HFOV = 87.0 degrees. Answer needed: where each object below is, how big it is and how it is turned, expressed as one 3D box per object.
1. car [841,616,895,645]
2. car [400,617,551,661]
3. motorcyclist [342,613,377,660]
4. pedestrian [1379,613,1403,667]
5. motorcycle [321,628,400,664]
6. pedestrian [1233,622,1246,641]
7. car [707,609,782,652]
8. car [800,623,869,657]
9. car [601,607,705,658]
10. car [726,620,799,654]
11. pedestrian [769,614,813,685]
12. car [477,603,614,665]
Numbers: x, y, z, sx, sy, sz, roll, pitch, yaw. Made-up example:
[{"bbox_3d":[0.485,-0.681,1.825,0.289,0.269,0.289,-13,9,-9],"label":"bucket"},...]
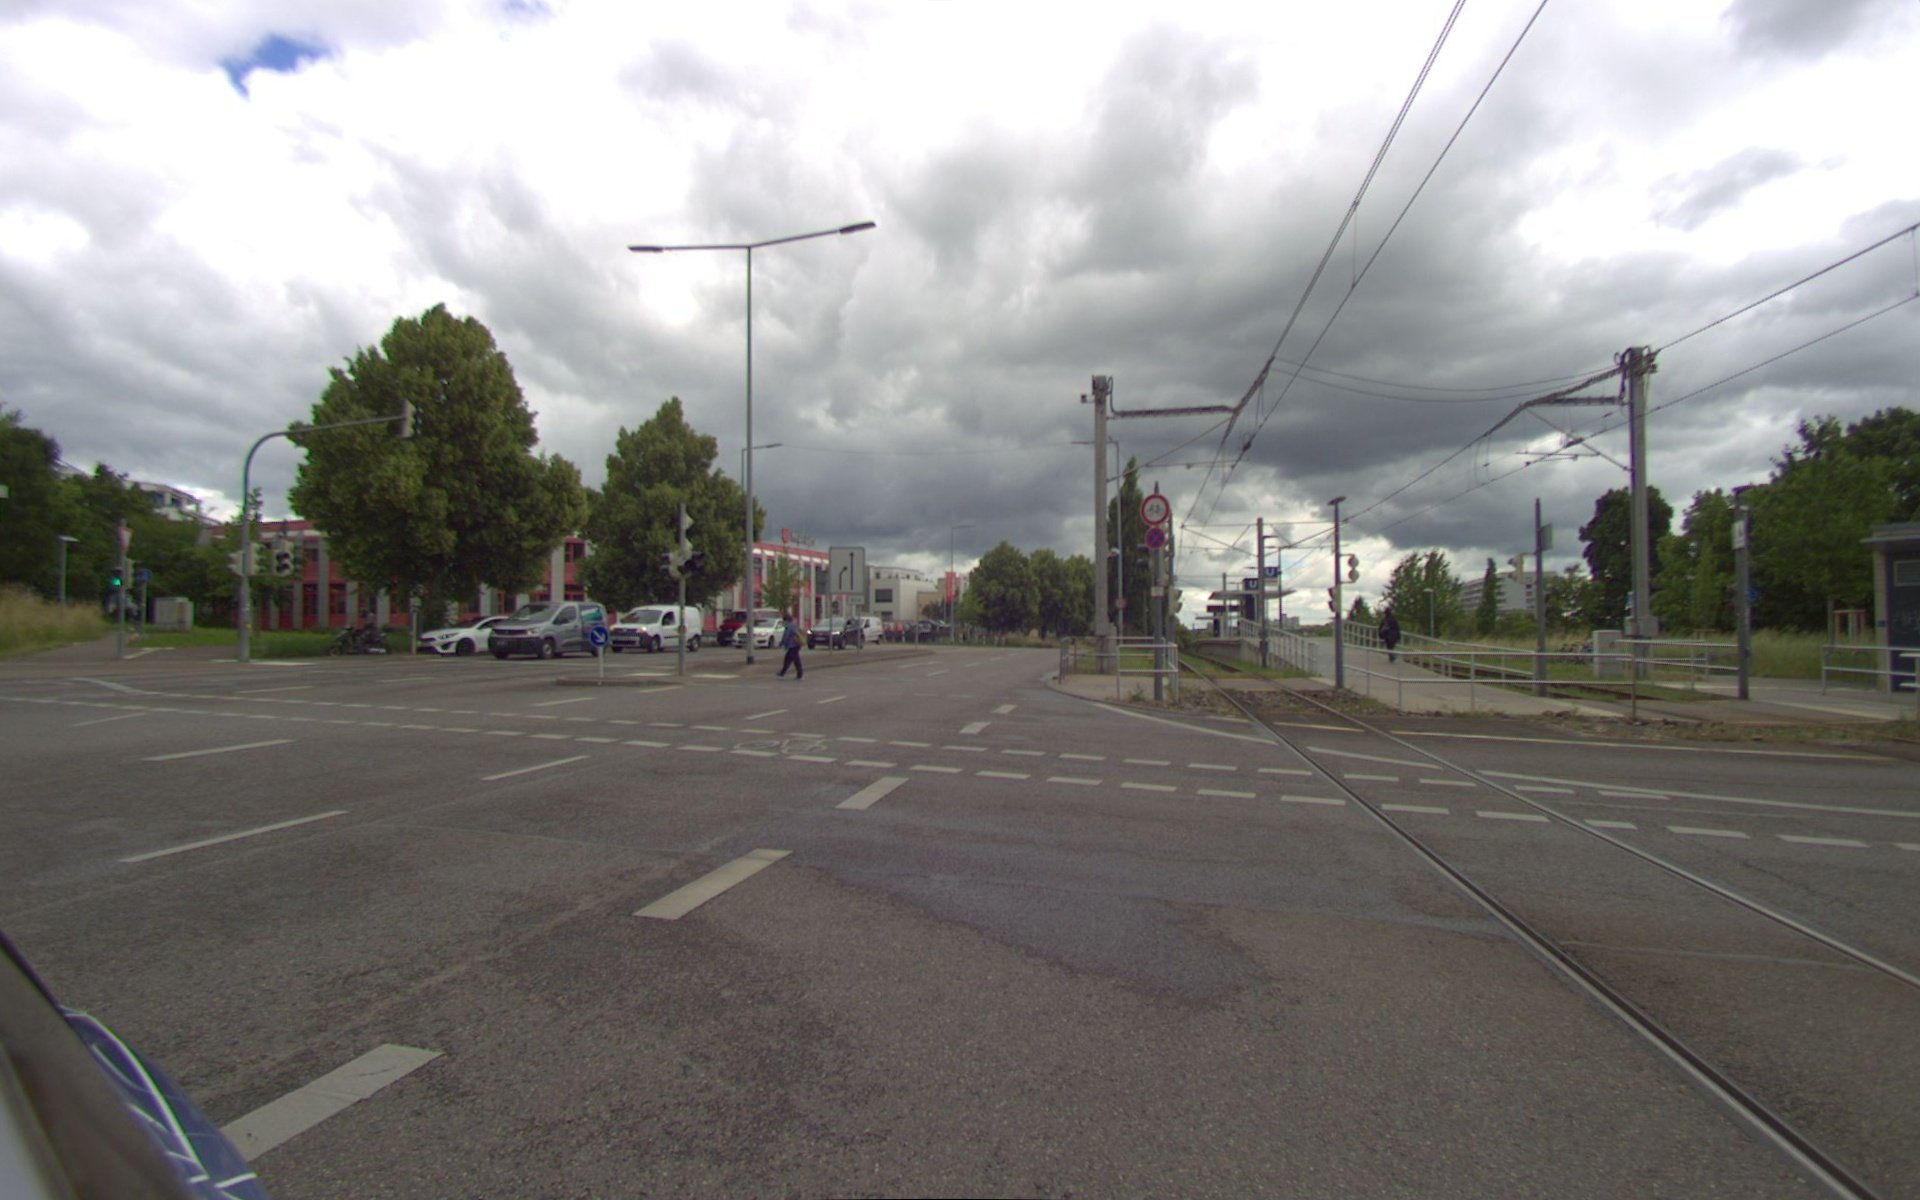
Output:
[{"bbox_3d":[-6.364,2.141,71.002,1.935,1.920,5.207,0,-1,17],"label":"car"},{"bbox_3d":[-16.727,1.329,35.135,1.830,1.431,4.464,-2,-2,32],"label":"car"},{"bbox_3d":[-18.929,1.150,31.909,0.804,1.432,0.760,2,-3,-41],"label":"motorcyclist"},{"bbox_3d":[12.872,1.182,30.227,0.559,1.584,0.543,0,1,13],"label":"pedestrian"},{"bbox_3d":[-18.900,1.454,31.928,2.037,1.099,0.760,2,-3,-41],"label":"motorcycle"},{"bbox_3d":[17.913,2.028,64.837,0.744,1.184,0.834,0,-1,13],"label":"pedestrian"},{"bbox_3d":[-11.219,1.642,53.077,2.162,1.920,4.436,1,-5,12],"label":"car"},{"bbox_3d":[-5.928,1.936,48.239,1.798,1.351,4.202,1,-5,15],"label":"car"},{"bbox_3d":[-11.724,1.290,38.958,1.796,1.806,4.679,1,-3,11],"label":"car"},{"bbox_3d":[-9.150,1.759,47.307,1.796,1.351,4.204,1,-5,13],"label":"car"},{"bbox_3d":[-3.782,1.099,22.684,0.710,1.542,0.666,0,-1,19],"label":"pedestrian"},{"bbox_3d":[-12.913,1.050,31.842,1.798,1.793,4.202,1,-1,14],"label":"car"}]
